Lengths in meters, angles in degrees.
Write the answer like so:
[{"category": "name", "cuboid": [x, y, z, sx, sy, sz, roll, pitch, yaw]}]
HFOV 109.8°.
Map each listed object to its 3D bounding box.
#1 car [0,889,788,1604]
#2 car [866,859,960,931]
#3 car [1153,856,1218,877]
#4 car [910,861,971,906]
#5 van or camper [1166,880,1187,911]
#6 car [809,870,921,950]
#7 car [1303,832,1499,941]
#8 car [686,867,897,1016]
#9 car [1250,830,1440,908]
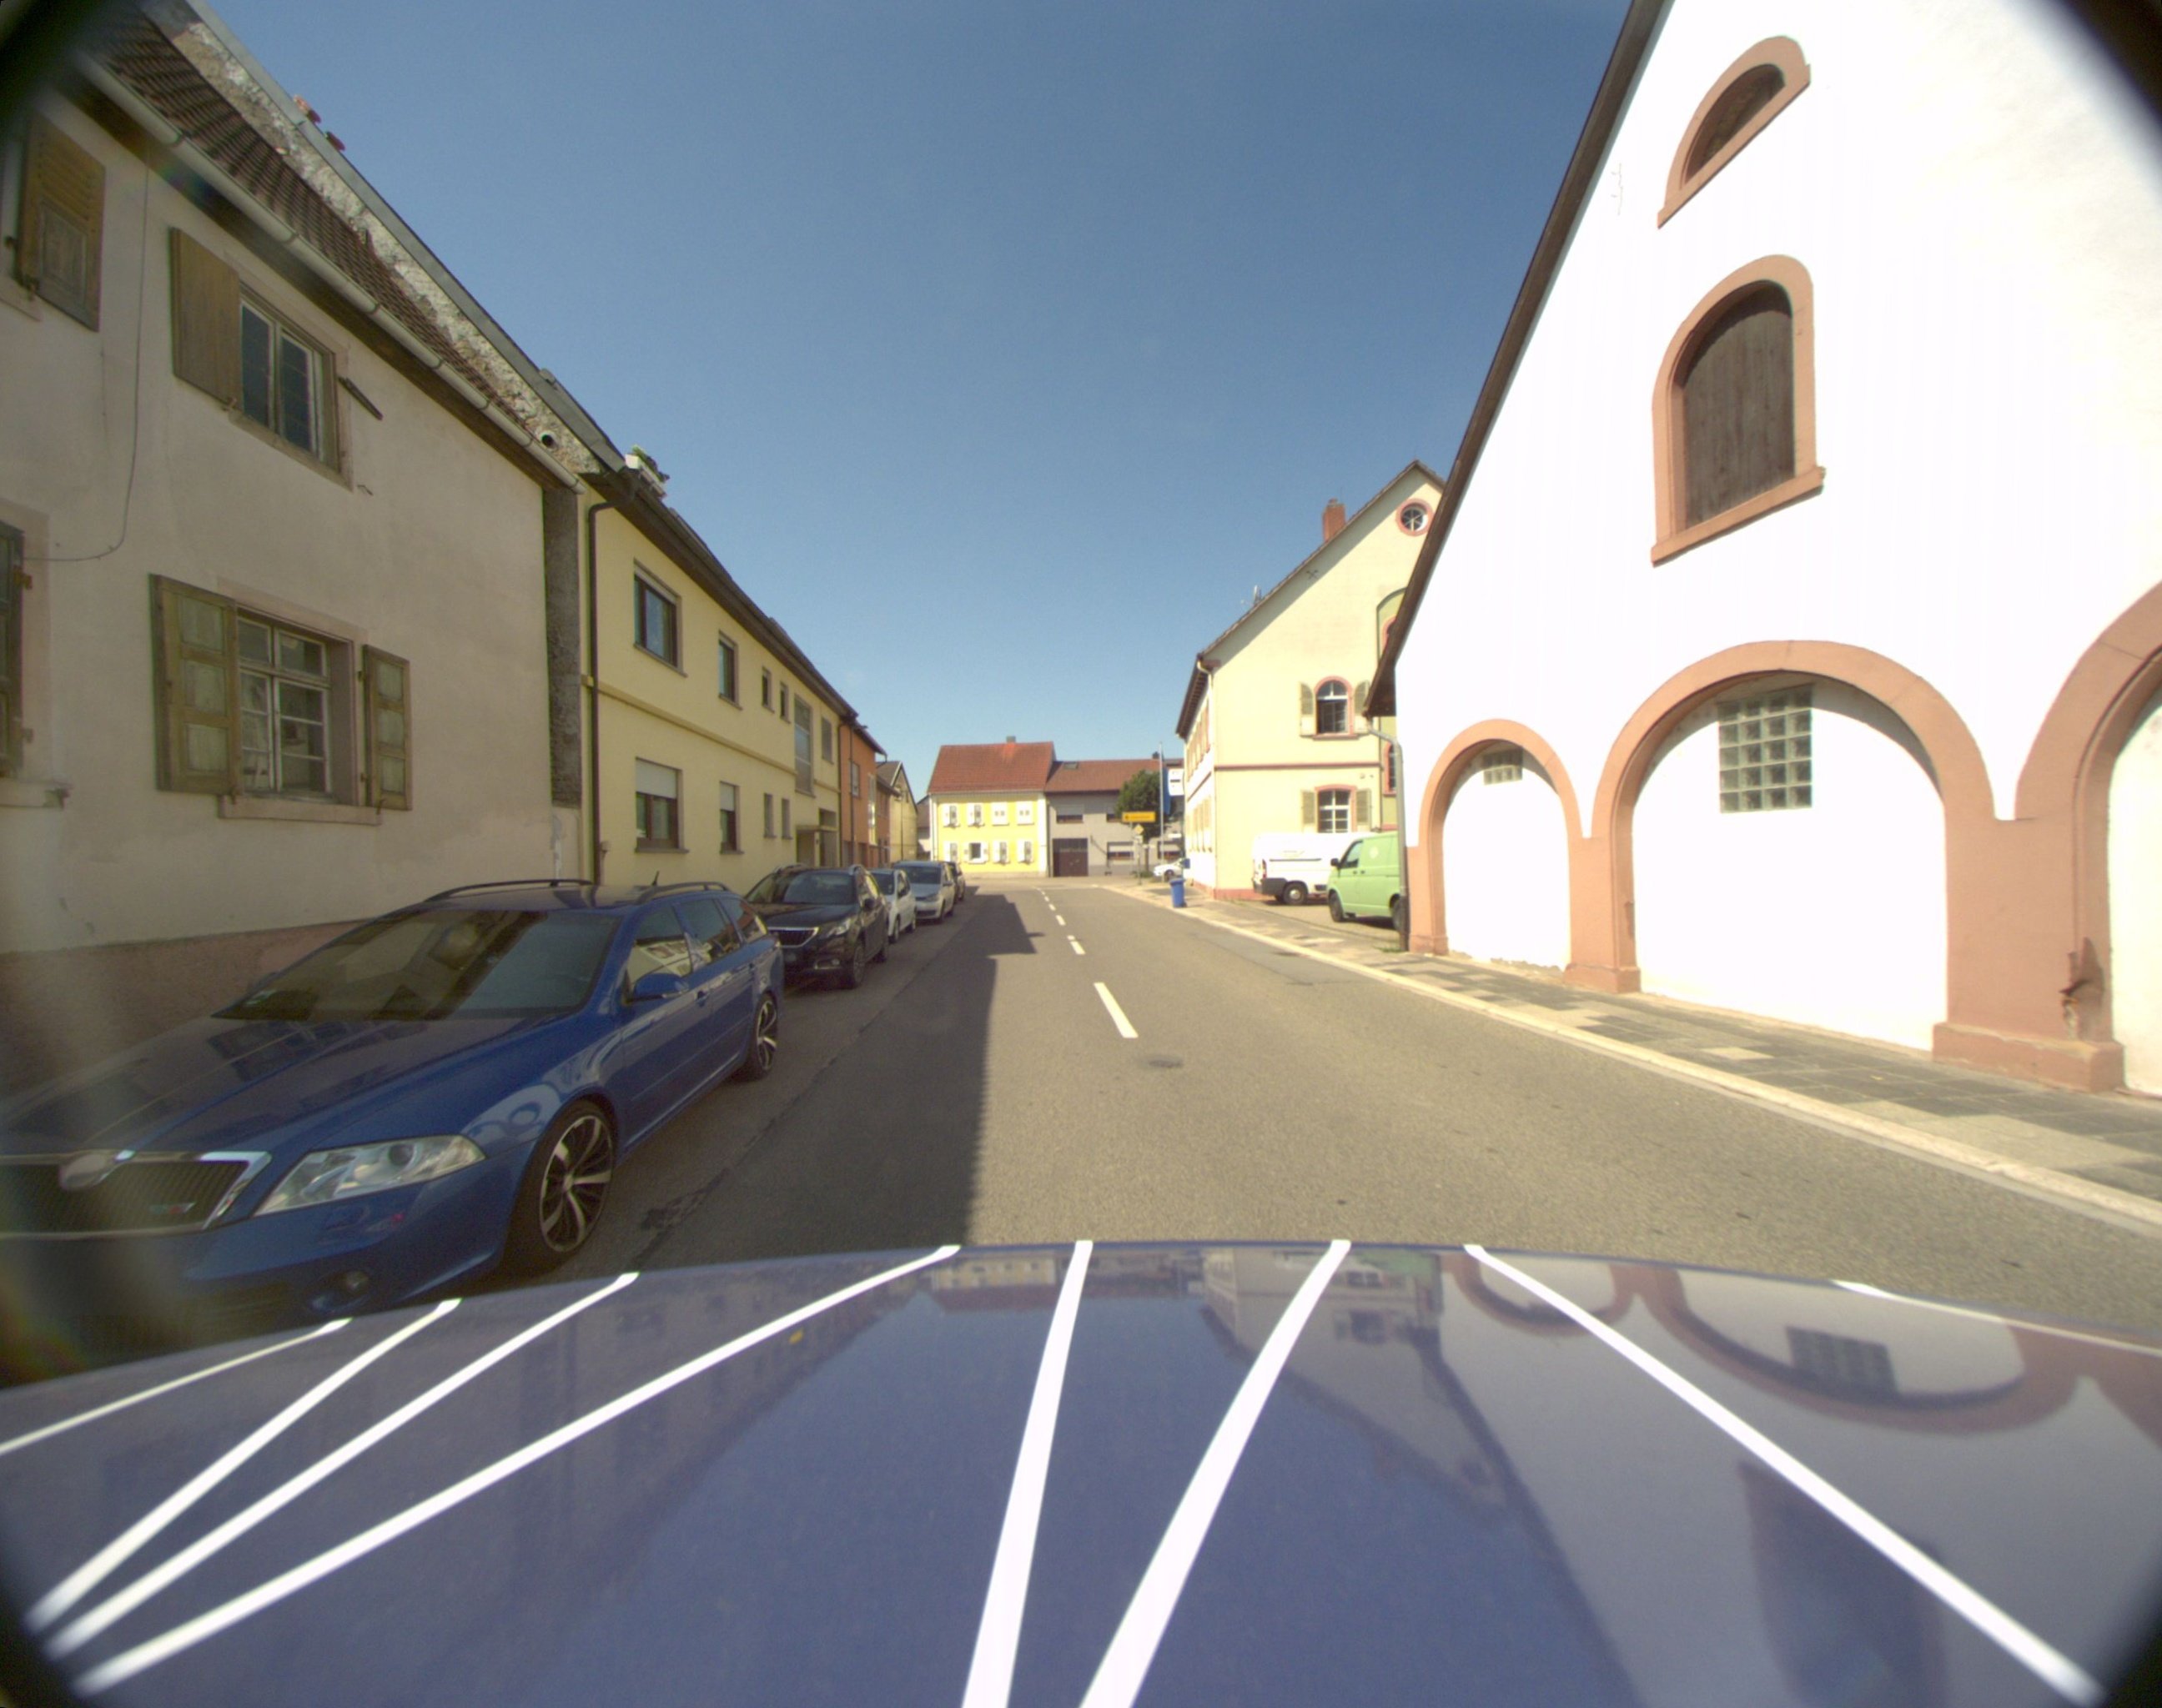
[{"category": "car", "cuboid": [-2.997, 1.009, 3.913, 1.704, 1.461, 4.407, 0, 0, -6]}, {"category": "car", "cuboid": [-4.529, 1.044, 21.070, 1.904, 1.718, 4.247, -2, 0, -4]}, {"category": "car", "cuboid": [7.790, 0.898, 56.897, 4.512, 1.432, 1.854, -1, 0, -8]}, {"category": "car", "cuboid": [-5.662, 1.136, 31.204, 1.849, 1.692, 5.178, 0, 0, -4]}, {"category": "van or camper", "cuboid": [3.061, 1.322, 24.401, 0.591, 0.946, 0.600, -1, 0, 1]}, {"category": "car", "cuboid": [-4.441, 1.091, 16.091, 1.555, 1.429, 3.719, 0, 0, -4]}, {"category": "car", "cuboid": [6.572, 0.605, 16.307, 1.999, 1.953, 4.668, -1, 0, -3]}, {"category": "car", "cuboid": [-3.684, 1.003, 10.425, 1.704, 1.574, 4.025, 0, 0, -6]}, {"category": "car", "cuboid": [8.061, 0.458, 23.650, 5.186, 2.184, 2.123, -2, 0, 6]}]
